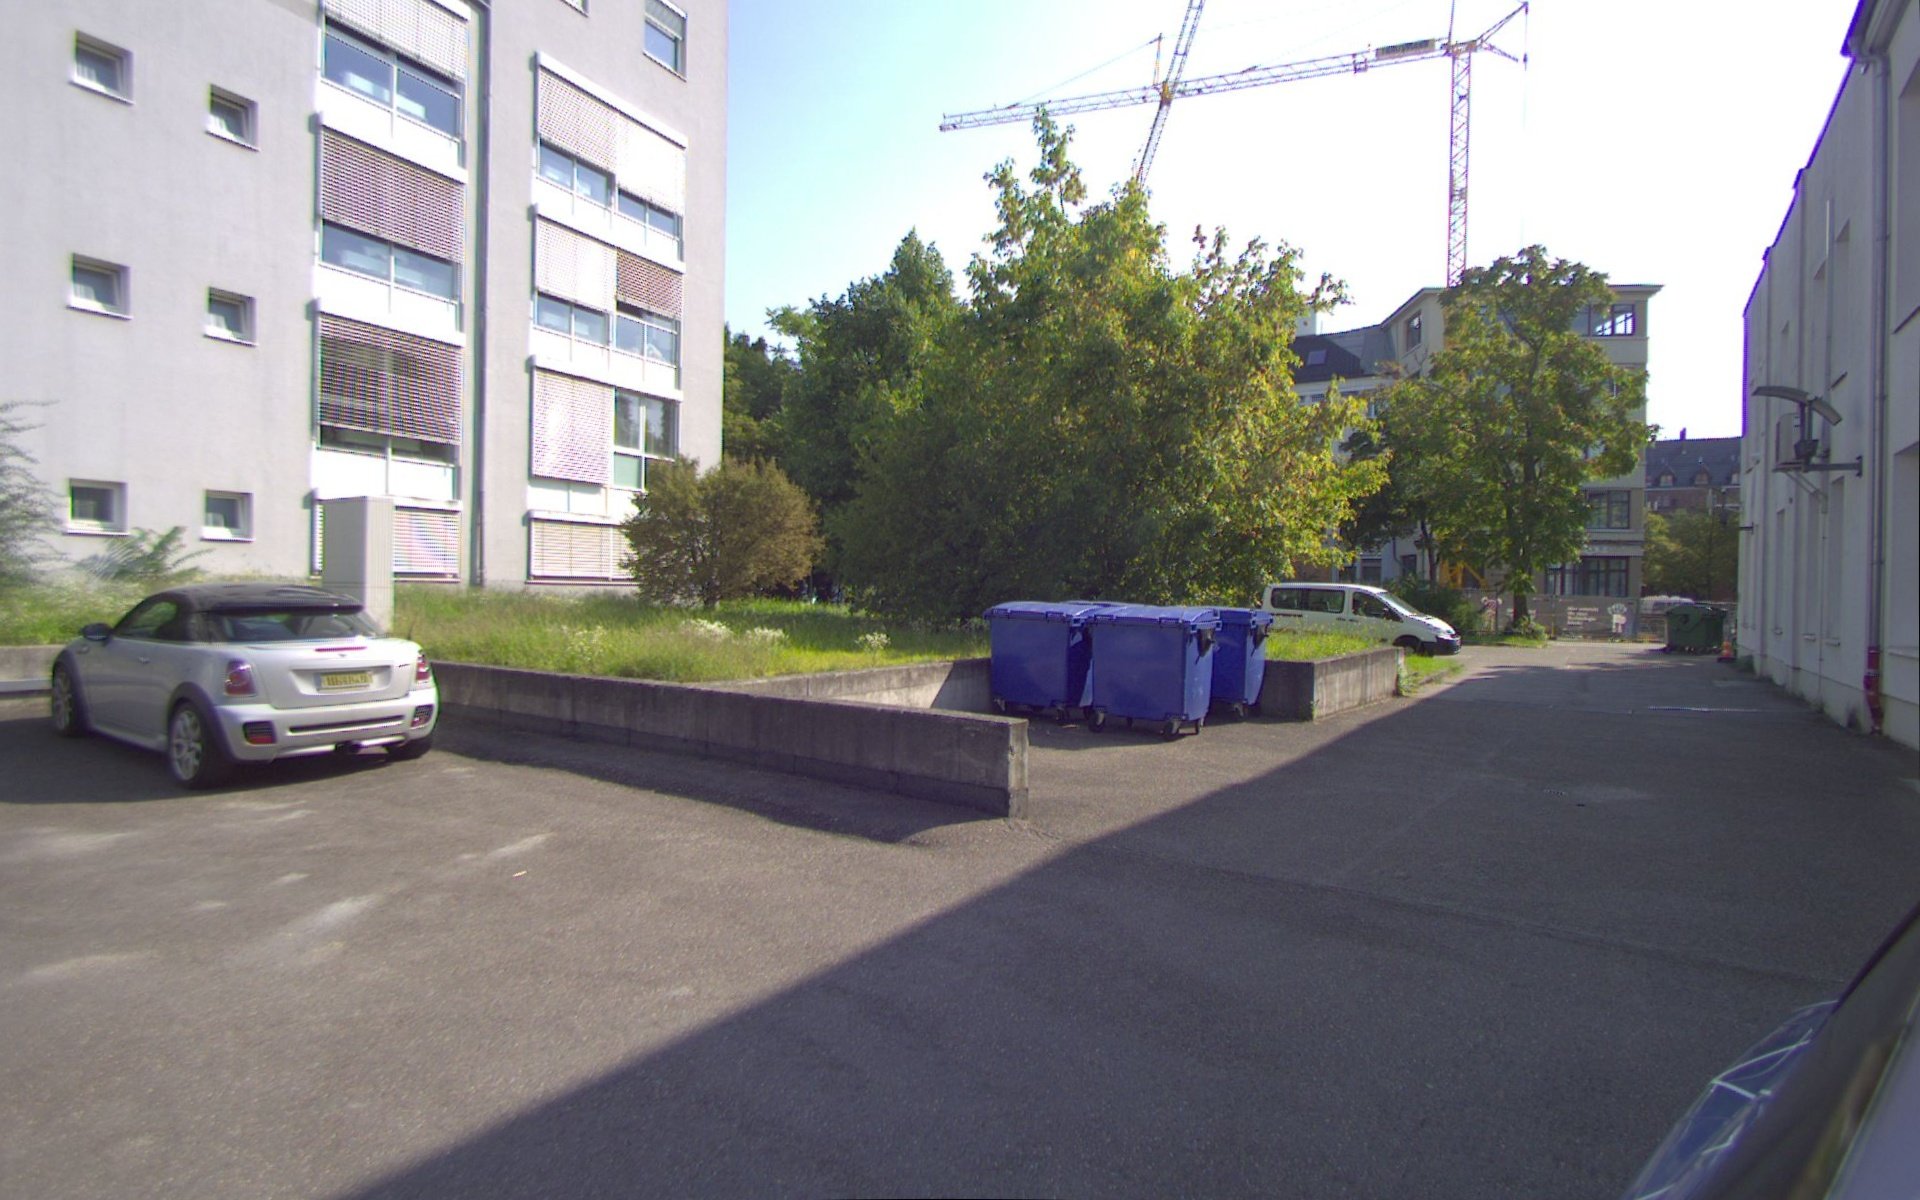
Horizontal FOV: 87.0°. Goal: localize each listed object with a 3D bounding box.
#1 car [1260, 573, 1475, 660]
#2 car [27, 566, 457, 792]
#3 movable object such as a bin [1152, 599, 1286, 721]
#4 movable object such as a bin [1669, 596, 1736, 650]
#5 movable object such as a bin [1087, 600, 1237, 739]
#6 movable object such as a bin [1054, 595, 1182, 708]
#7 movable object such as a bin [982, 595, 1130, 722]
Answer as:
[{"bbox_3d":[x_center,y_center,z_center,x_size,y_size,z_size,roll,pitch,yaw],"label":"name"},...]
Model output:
[{"bbox_3d":[10.303,0.354,25.776,4.767,1.956,1.883,2,0,37],"label":"car"},{"bbox_3d":[-5.952,0.491,8.313,3.554,1.455,1.640,2,0,32],"label":"car"},{"bbox_3d":[3.125,0.674,12.175,1.193,1.344,1.259,1,0,35],"label":"movable object such as a bin"},{"bbox_3d":[21.498,0.654,29.352,1.516,1.484,1.259,1,0,35],"label":"movable object such as a bin"},{"bbox_3d":[2.201,0.691,10.937,1.206,1.368,1.260,1,0,33],"label":"movable object such as a bin"},{"bbox_3d":[2.037,0.615,13.001,1.193,1.344,1.259,1,0,35],"label":"movable object such as a bin"},{"bbox_3d":[1.126,0.632,11.765,1.250,1.344,1.259,1,0,35],"label":"movable object such as a bin"}]
